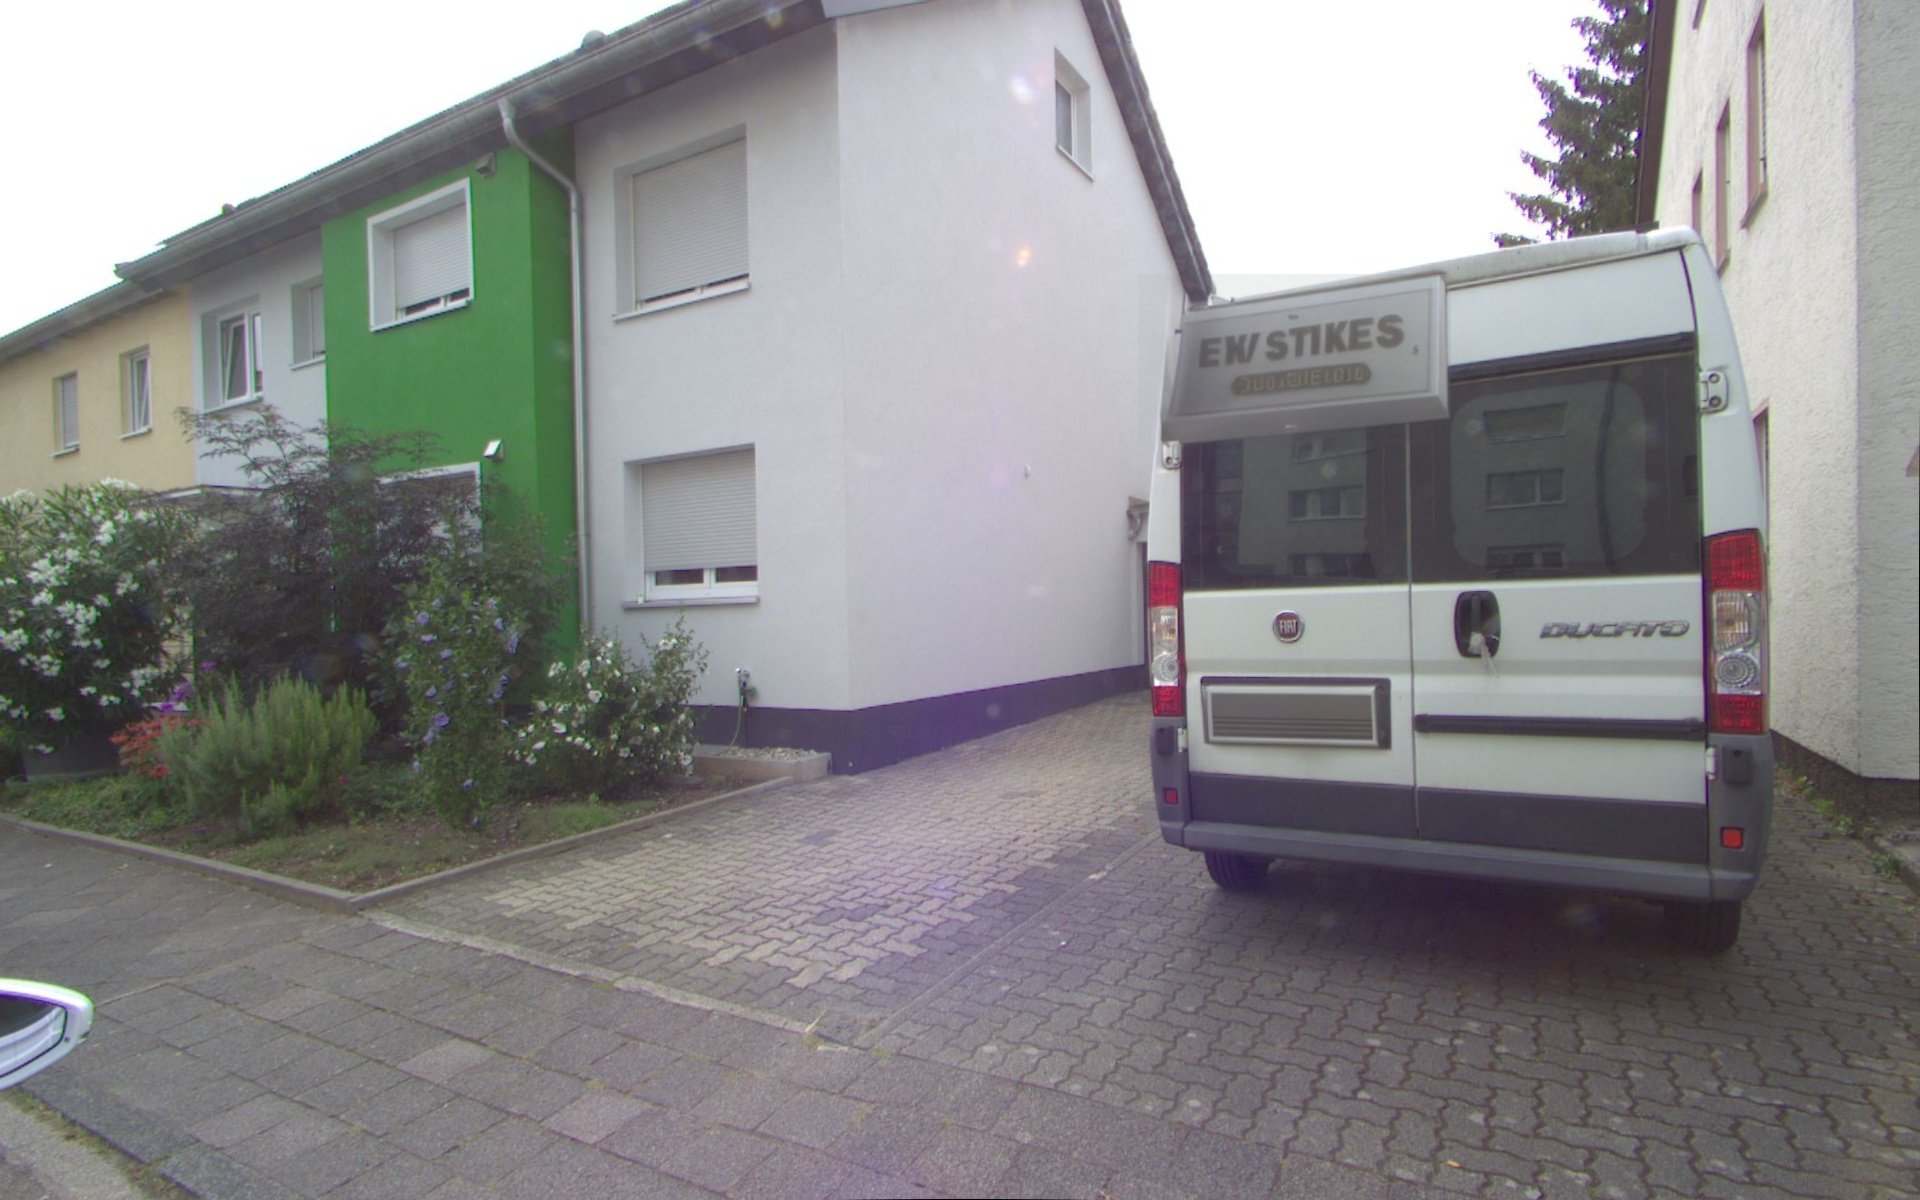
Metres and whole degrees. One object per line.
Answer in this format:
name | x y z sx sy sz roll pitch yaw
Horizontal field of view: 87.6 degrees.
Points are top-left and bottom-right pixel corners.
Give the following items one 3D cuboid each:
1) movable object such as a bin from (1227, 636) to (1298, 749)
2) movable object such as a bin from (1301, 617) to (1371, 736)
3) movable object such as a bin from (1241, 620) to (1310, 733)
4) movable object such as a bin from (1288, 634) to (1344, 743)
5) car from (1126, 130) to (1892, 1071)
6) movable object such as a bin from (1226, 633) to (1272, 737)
movable object such as a bin | 2.691 0.806 8.892 0.475 0.938 0.518 -1 2 30
movable object such as a bin | 3.586 0.713 9.536 0.538 1.071 0.454 -1 2 30
movable object such as a bin | 3.099 0.738 9.818 0.538 1.046 0.454 -1 2 30
movable object such as a bin | 3.257 0.794 9.157 0.396 0.938 0.448 -1 2 30
car | 2.910 -0.021 5.502 2.205 2.576 5.077 -1 1 31
movable object such as a bin | 2.745 0.797 9.505 0.333 0.938 0.354 -1 2 30
